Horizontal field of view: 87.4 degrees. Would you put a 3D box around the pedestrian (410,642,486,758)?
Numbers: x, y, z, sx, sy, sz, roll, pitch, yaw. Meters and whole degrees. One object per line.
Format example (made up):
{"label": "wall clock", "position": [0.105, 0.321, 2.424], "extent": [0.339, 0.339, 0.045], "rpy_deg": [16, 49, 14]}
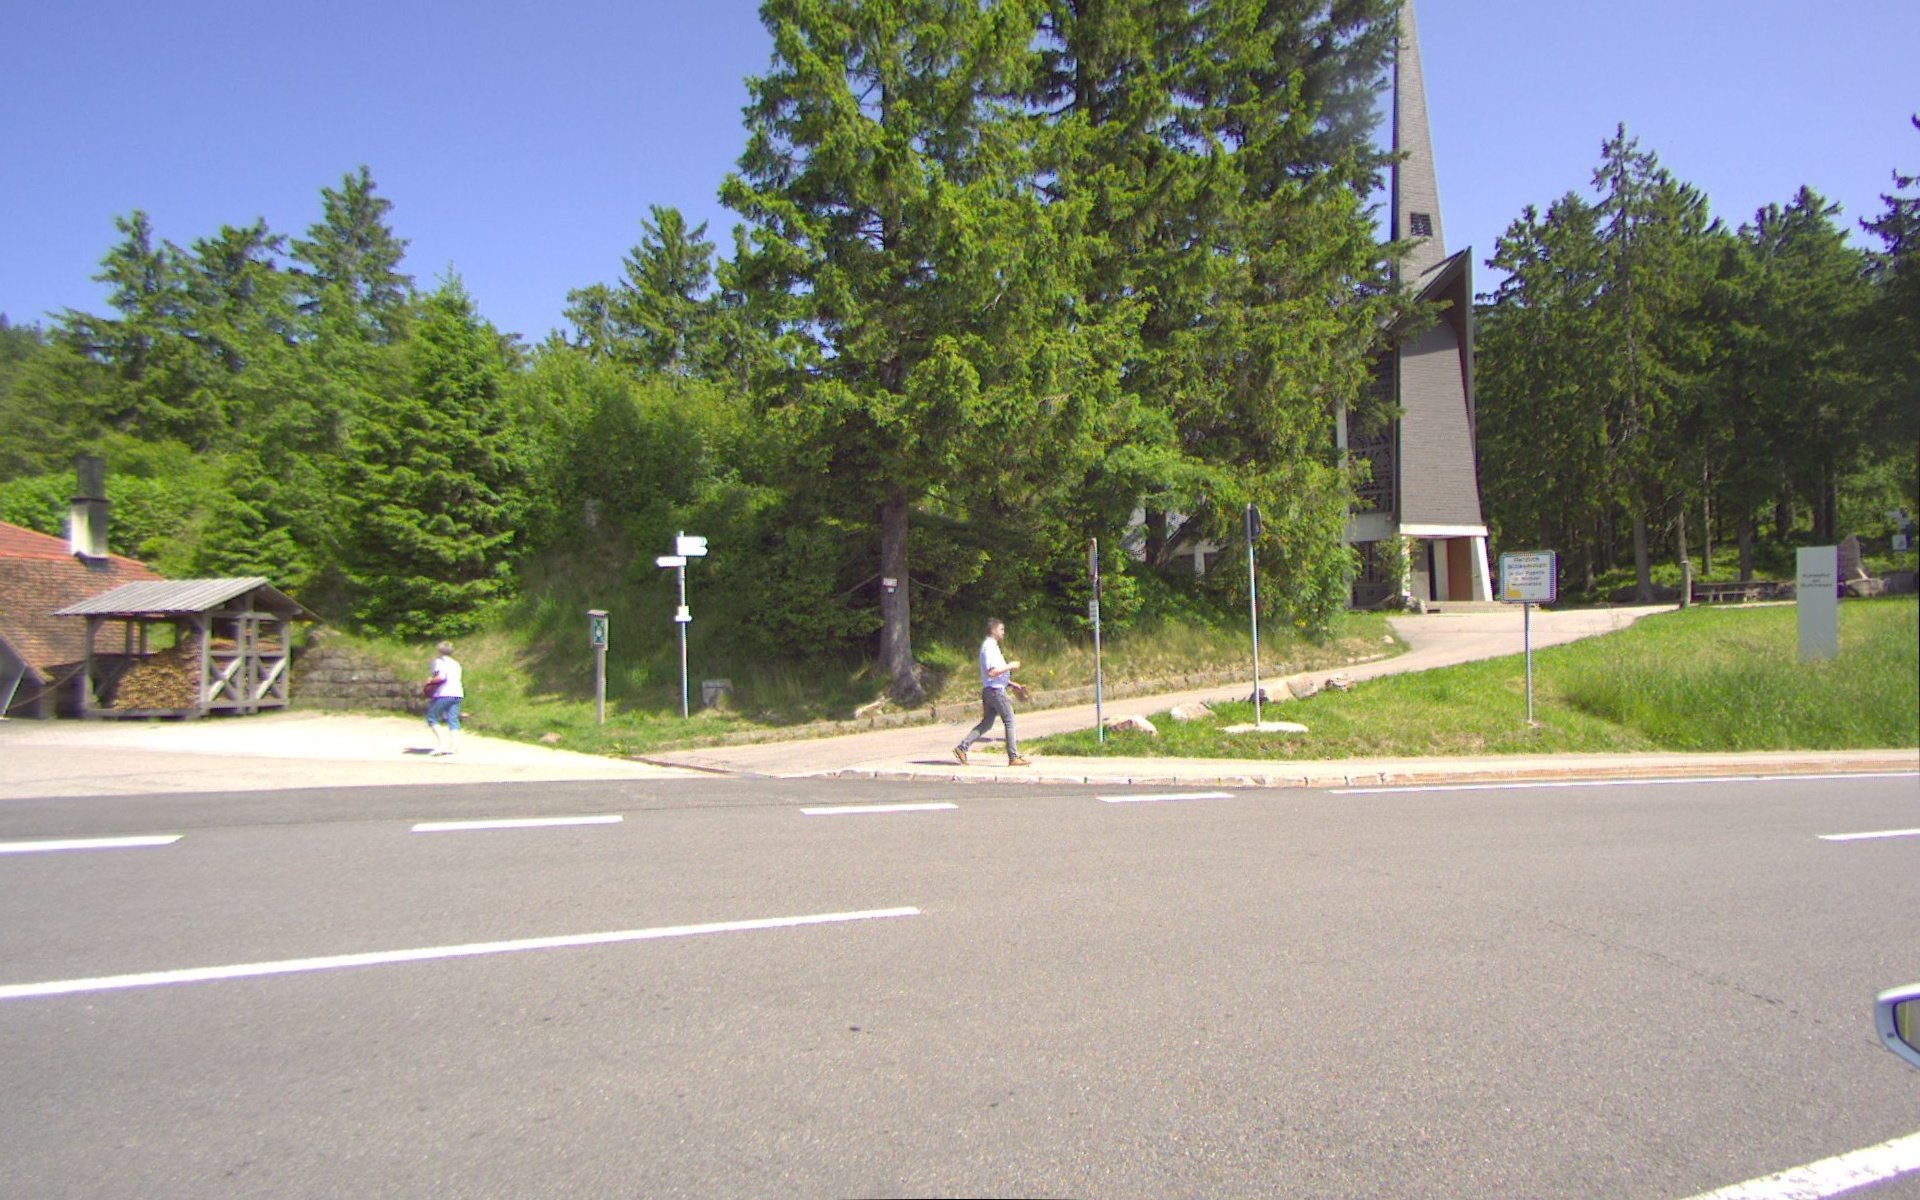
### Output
{"label": "pedestrian", "position": [-7.770, 1.499, 15.273], "extent": [0.669, 1.703, 0.722], "rpy_deg": [-1, -3, 18]}

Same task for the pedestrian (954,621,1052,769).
{"label": "pedestrian", "position": [0.521, 1.141, 12.240], "extent": [1.139, 1.720, 0.979], "rpy_deg": [0, -3, 2]}
